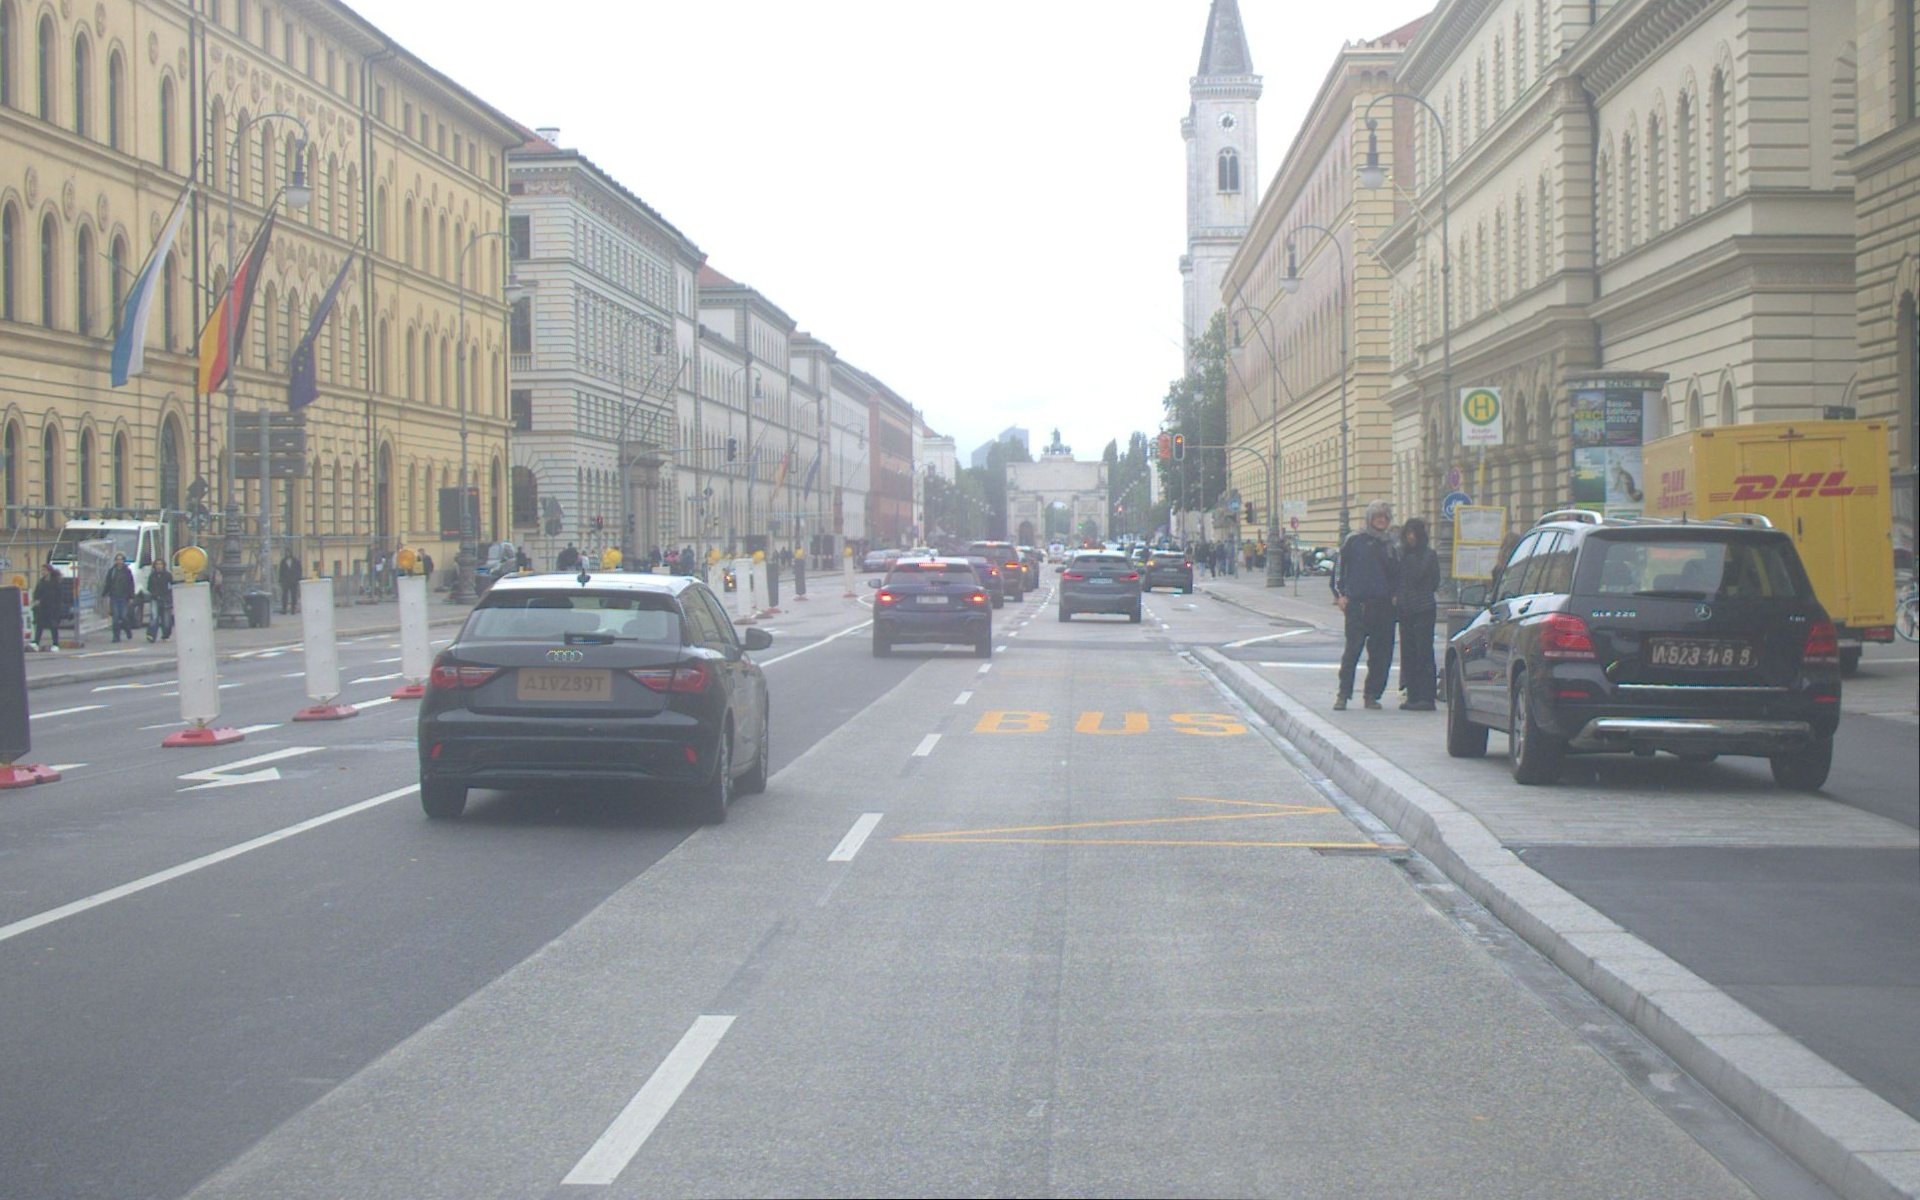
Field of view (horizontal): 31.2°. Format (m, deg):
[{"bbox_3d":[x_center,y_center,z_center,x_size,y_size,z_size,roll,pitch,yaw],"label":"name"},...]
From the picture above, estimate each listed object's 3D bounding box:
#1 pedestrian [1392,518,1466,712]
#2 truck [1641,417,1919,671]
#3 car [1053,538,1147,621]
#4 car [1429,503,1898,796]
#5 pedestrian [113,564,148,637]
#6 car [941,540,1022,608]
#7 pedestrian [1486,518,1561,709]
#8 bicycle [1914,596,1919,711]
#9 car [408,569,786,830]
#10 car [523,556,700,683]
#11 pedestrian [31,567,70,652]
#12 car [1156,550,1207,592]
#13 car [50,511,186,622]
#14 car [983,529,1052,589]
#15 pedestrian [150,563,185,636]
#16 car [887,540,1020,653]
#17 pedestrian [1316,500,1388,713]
[{"bbox_3d":[4.159,0.134,30.485,0.615,1.696,0.541,0,0,5],"label":"pedestrian"},{"bbox_3d":[9.618,-0.602,40.403,2.623,2.755,5.805,0,0,6],"label":"truck"},{"bbox_3d":[3.121,-0.471,76.393,1.994,1.766,4.000,-1,1,3],"label":"car"},{"bbox_3d":[4.306,0.253,21.750,2.068,1.656,4.223,0,1,0],"label":"car"},{"bbox_3d":[-16.197,0.011,67.110,0.539,1.402,0.617,0,0,-1],"label":"pedestrian"},{"bbox_3d":[0.611,-0.712,92.897,1.994,1.766,4.000,-1,1,3],"label":"car"},{"bbox_3d":[5.047,0.122,30.813,0.615,1.696,0.541,0,0,5],"label":"pedestrian"},{"bbox_3d":[8.718,0.473,30.075,0.518,1.019,1.650,0,0,9],"label":"bicycle"},{"bbox_3d":[-2.074,0.523,20.660,1.863,1.383,4.000,0,1,0],"label":"car"},{"bbox_3d":[-4.613,0.255,45.981,1.769,1.611,4.000,0,0,3],"label":"car"},{"bbox_3d":[-16.530,0.173,62.497,0.552,1.525,0.617,0,0,-1],"label":"pedestrian"},{"bbox_3d":[8.518,-1.112,132.417,1.860,1.573,4.000,0,0,3],"label":"car"},{"bbox_3d":[-17.863,-0.691,73.071,1.739,2.281,4.000,0,0,3],"label":"car"},{"bbox_3d":[1.781,-1.252,105.151,1.994,1.766,4.000,-1,1,3],"label":"car"},{"bbox_3d":[-15.443,-0.003,67.022,0.539,1.406,0.617,0,0,-1],"label":"pedestrian"},{"bbox_3d":[-0.059,-0.045,51.127,1.769,1.611,4.000,0,0,3],"label":"car"},{"bbox_3d":[3.490,0.058,30.611,0.615,1.868,0.541,0,0,7],"label":"pedestrian"}]
